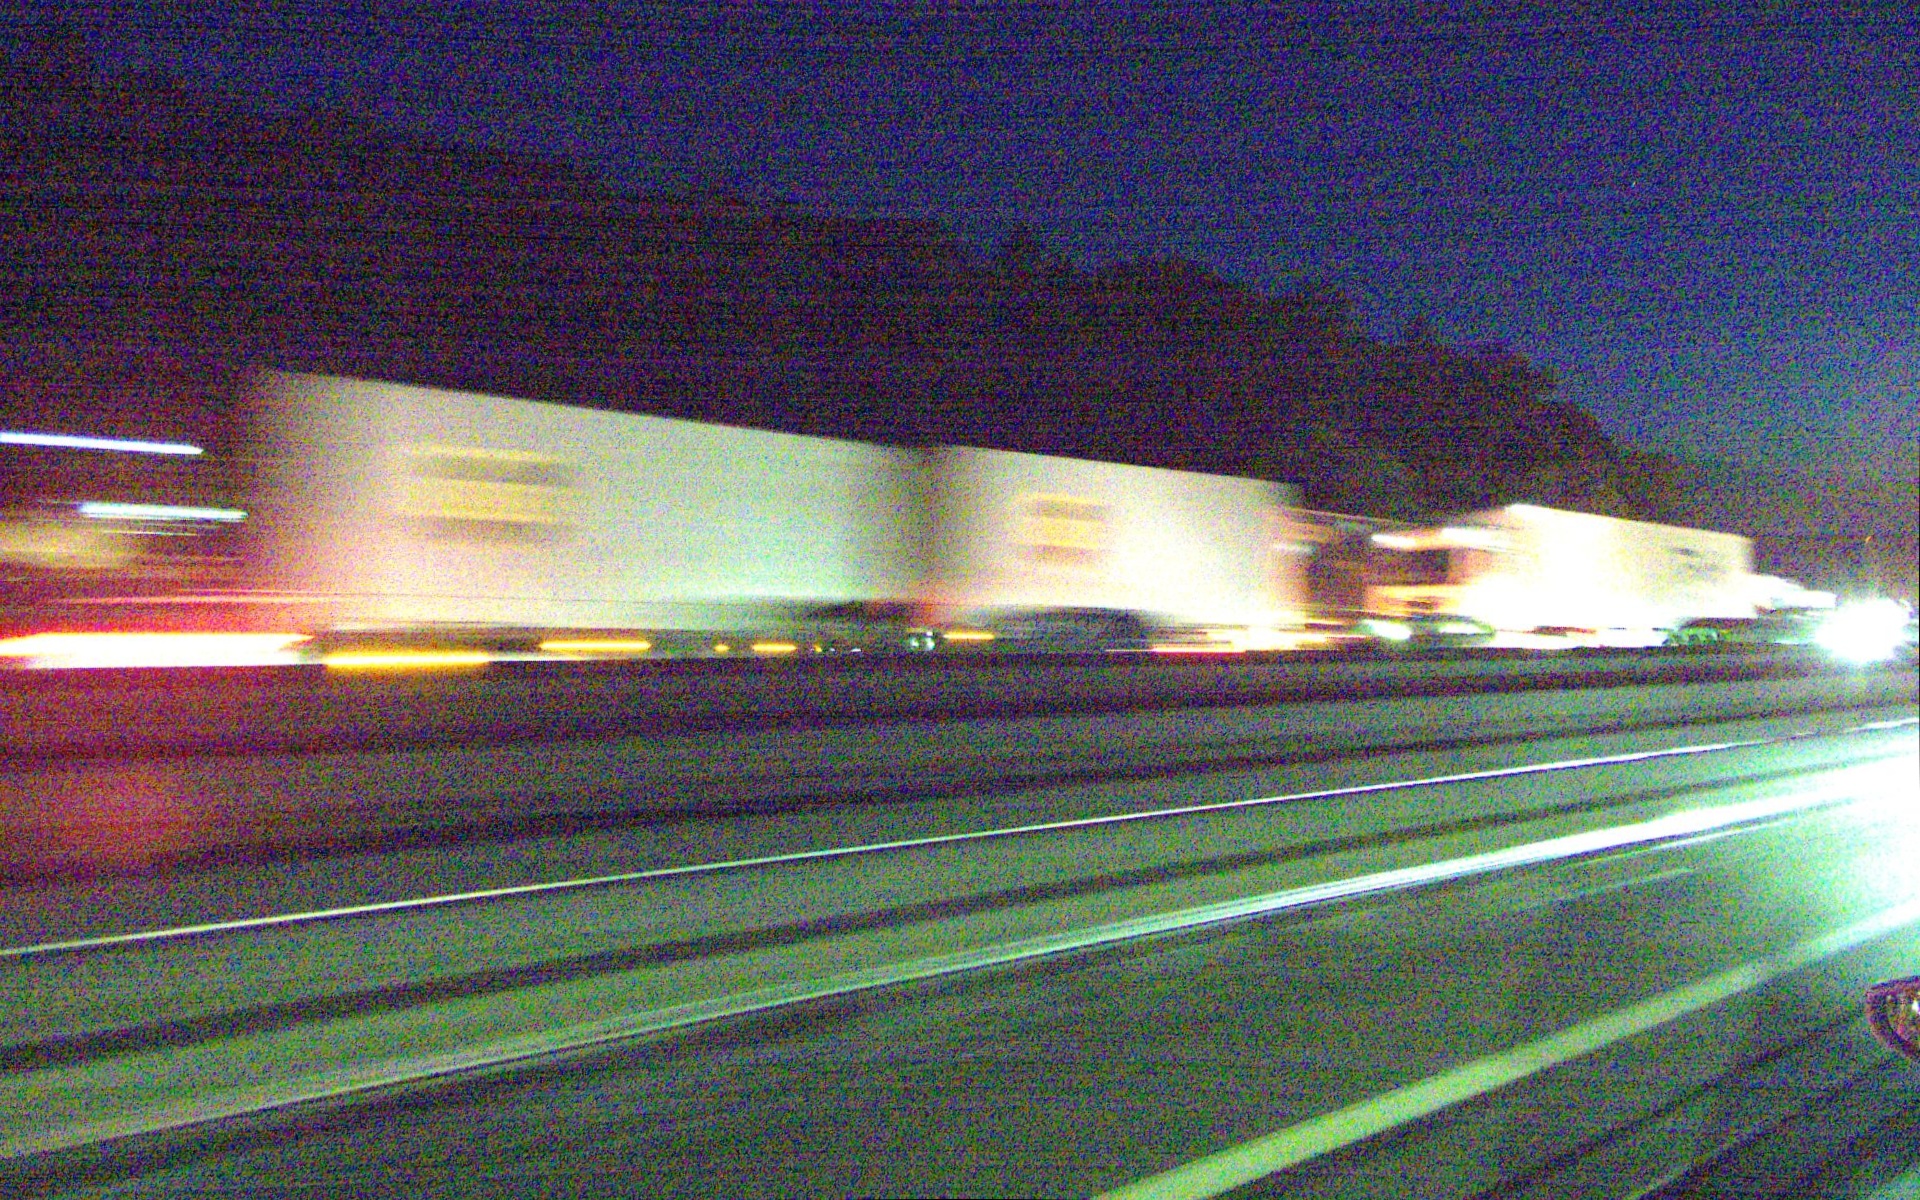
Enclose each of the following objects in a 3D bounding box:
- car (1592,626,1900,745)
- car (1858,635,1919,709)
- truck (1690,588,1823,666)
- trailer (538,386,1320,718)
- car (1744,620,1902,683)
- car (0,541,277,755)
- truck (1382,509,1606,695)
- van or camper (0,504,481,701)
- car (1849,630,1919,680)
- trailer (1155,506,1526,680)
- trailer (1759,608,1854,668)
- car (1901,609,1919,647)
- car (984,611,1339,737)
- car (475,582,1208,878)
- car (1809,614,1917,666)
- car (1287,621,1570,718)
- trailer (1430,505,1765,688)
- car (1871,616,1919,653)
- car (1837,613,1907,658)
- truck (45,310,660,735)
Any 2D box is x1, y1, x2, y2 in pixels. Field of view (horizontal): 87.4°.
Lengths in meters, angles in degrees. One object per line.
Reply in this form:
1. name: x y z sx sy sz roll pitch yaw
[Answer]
1. car: 11.898 1.225 15.146 4.807 1.512 1.896 2 -1 -28
2. car: 21.964 1.596 22.127 4.812 1.512 1.894 2 -1 -31
3. truck: 35.853 1.229 45.124 7.832 3.261 2.479 2 -1 -34
4. trailer: 0.458 -0.458 17.830 14.360 4.239 2.860 1 -1 -32
5. car: 23.294 1.375 27.067 4.813 1.512 1.893 2 -1 -32
6. car: -8.114 0.307 7.446 4.881 1.512 1.894 2 -1 -31
7. truck: 13.891 0.128 26.006 5.894 4.326 2.601 2 -1 -33
8. van or camper: -11.455 0.091 15.619 7.029 2.627 2.570 2 -1 -31
9. car: 31.133 1.789 32.893 4.817 1.512 1.892 2 -1 -34
10. trailer: 11.464 0.072 29.128 13.140 4.226 2.824 2 -3 -33
11. trailer: 41.124 1.817 48.780 4.942 2.781 2.348 2 -1 -35
12. car: 47.969 1.388 49.105 4.275 1.834 1.981 2 -1 -34
13. car: 2.898 0.987 14.186 4.807 1.512 1.896 2 -1 -28
14. car: -0.722 0.745 7.142 4.808 1.512 1.896 2 -1 -29
15. car: 37.043 1.635 41.167 4.963 1.911 1.894 3 -1 -31
16. car: 8.503 1.211 18.101 5.194 1.512 1.896 2 -1 -28
17. trailer: 19.513 0.194 30.030 14.371 4.522 2.823 2 -4 -34
18. car: 56.353 2.059 60.486 4.477 2.106 1.698 2 -1 -41
19. car: 51.829 2.016 57.049 4.466 2.431 1.981 2 -1 -35
20. truck: -7.317 -0.688 12.915 6.040 4.266 2.849 2 -1 -33
